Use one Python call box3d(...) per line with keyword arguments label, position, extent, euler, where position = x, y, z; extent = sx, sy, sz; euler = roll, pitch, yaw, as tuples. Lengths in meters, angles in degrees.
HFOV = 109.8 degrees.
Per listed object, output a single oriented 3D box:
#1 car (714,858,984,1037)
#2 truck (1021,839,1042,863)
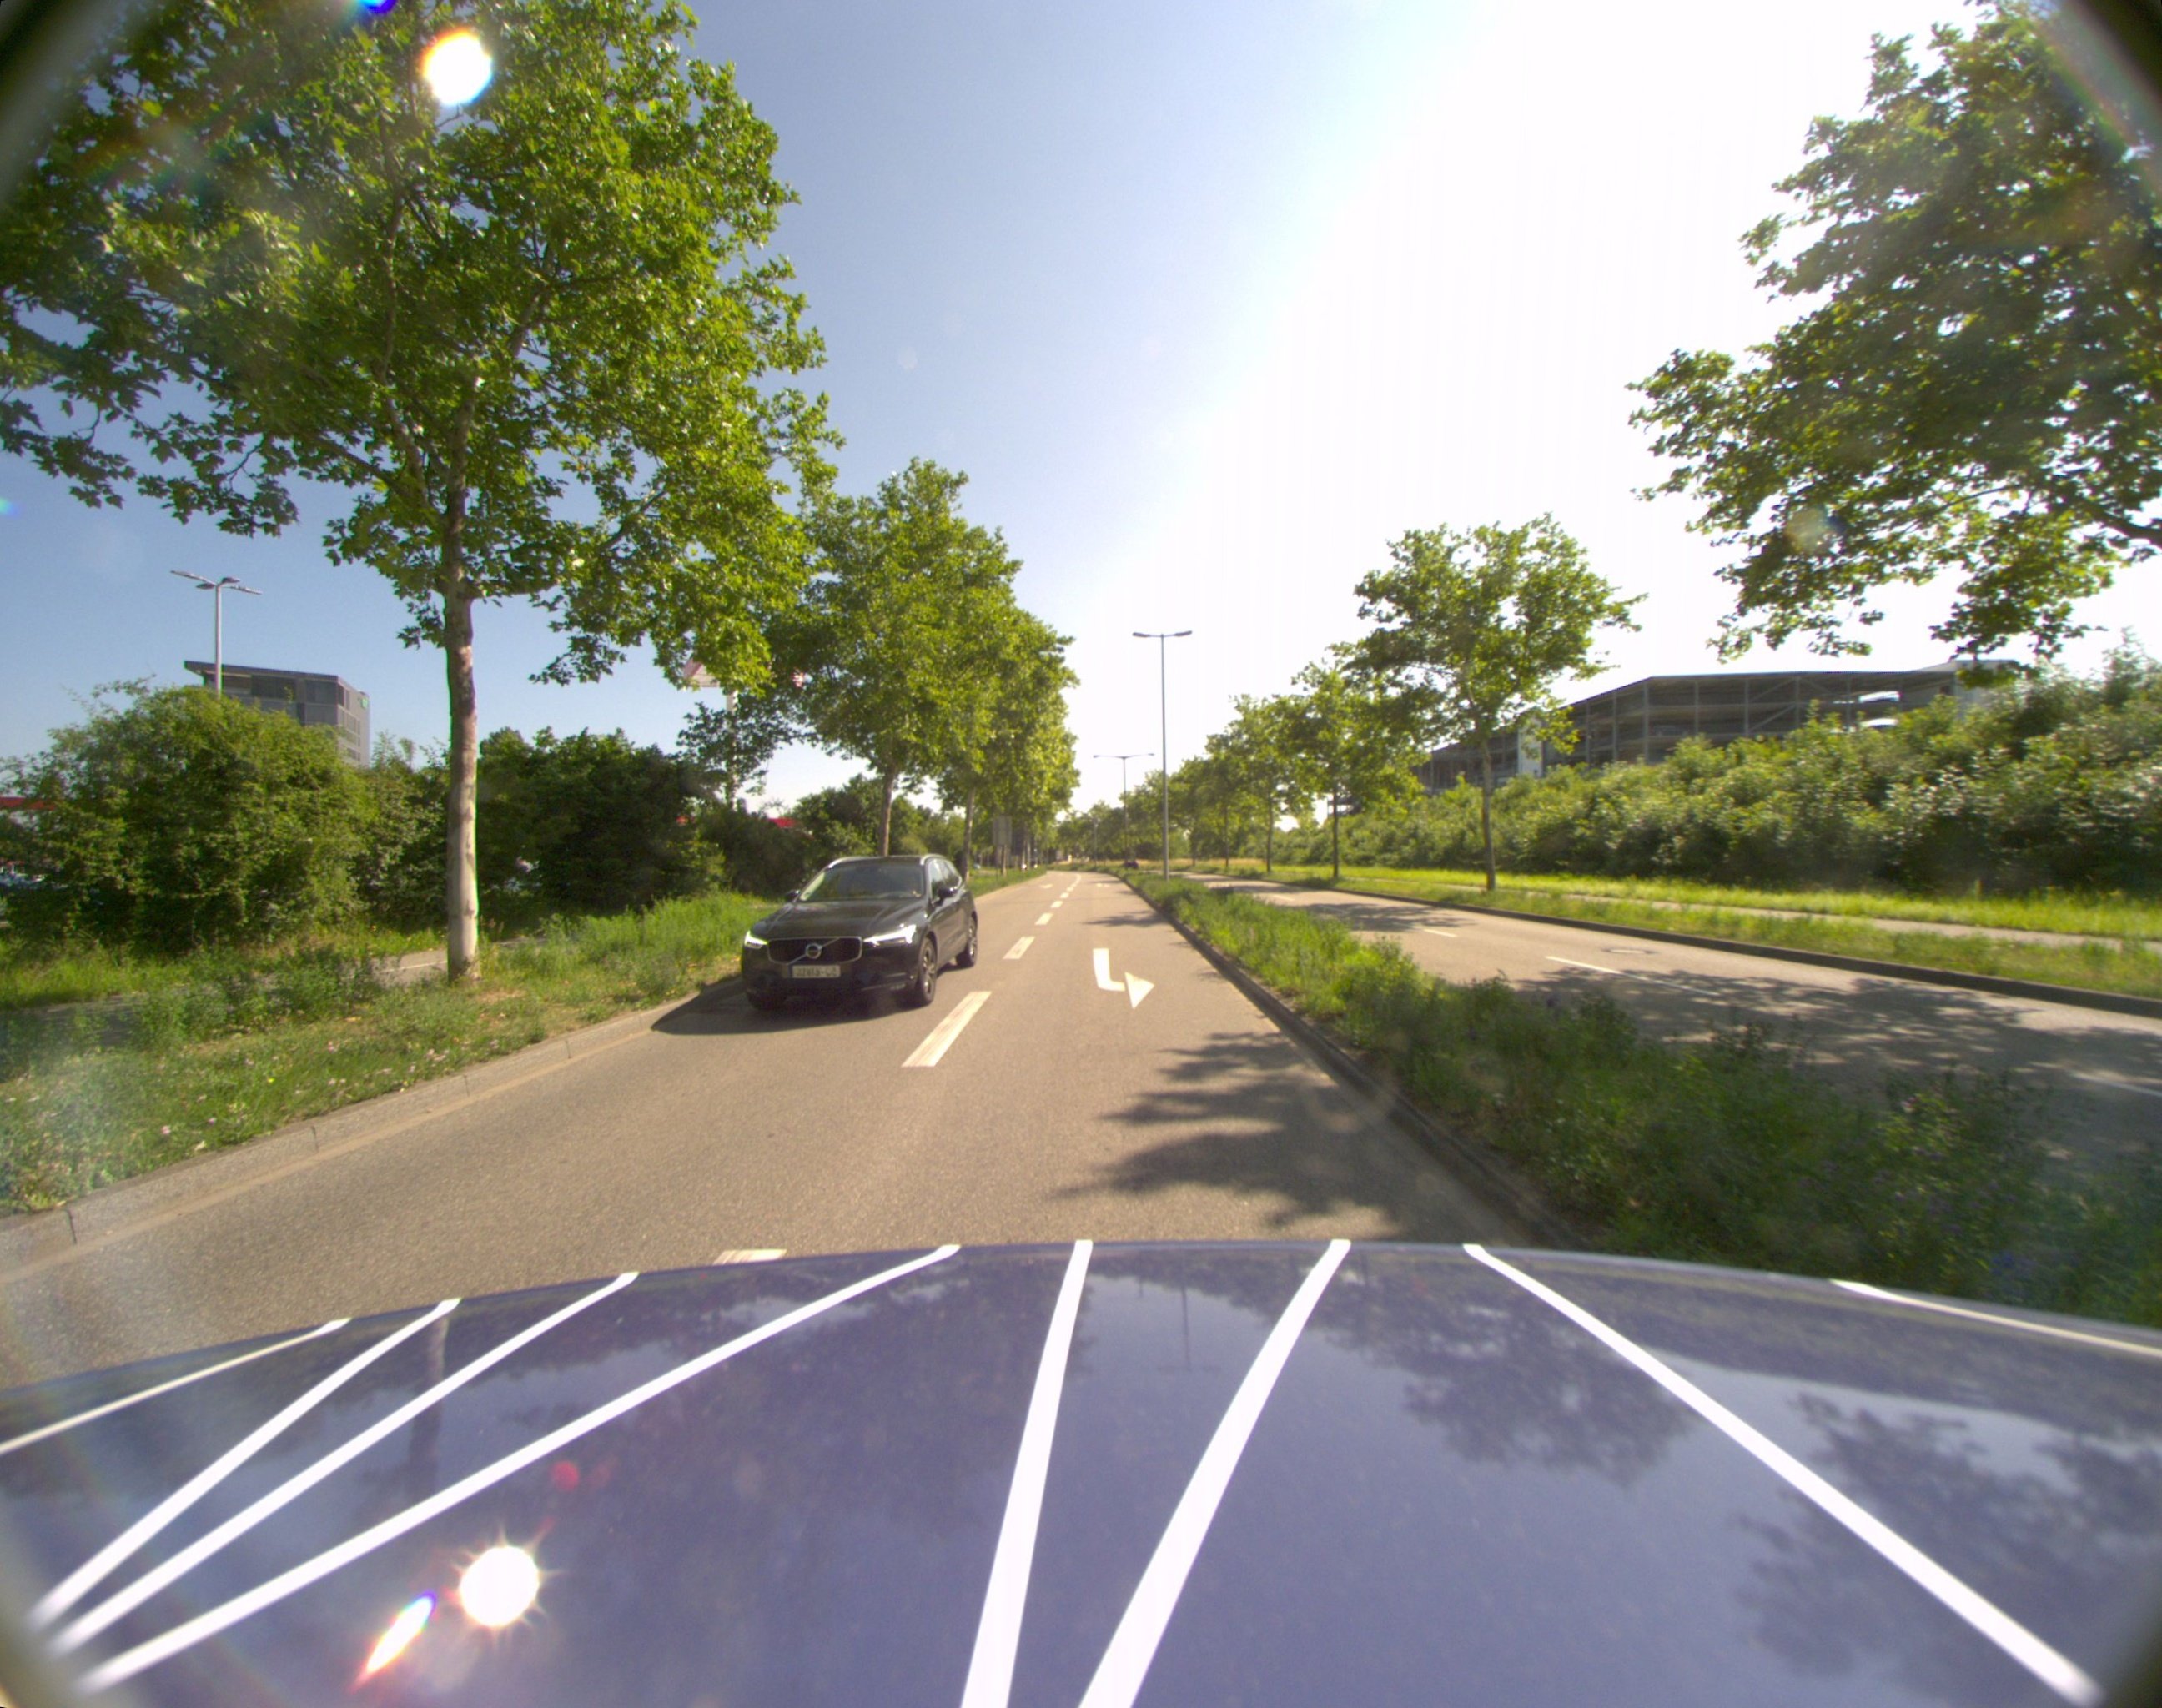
box3d(label="car", position=(-2.500, 0.904, 9.531), extent=(1.924, 1.613, 4.564), euler=(-2, 0, 0))
box3d(label="truck", position=(-8.109, -0.488, 123.617), extent=(2.743, 3.872, 5.846), euler=(-2, 1, -9))
